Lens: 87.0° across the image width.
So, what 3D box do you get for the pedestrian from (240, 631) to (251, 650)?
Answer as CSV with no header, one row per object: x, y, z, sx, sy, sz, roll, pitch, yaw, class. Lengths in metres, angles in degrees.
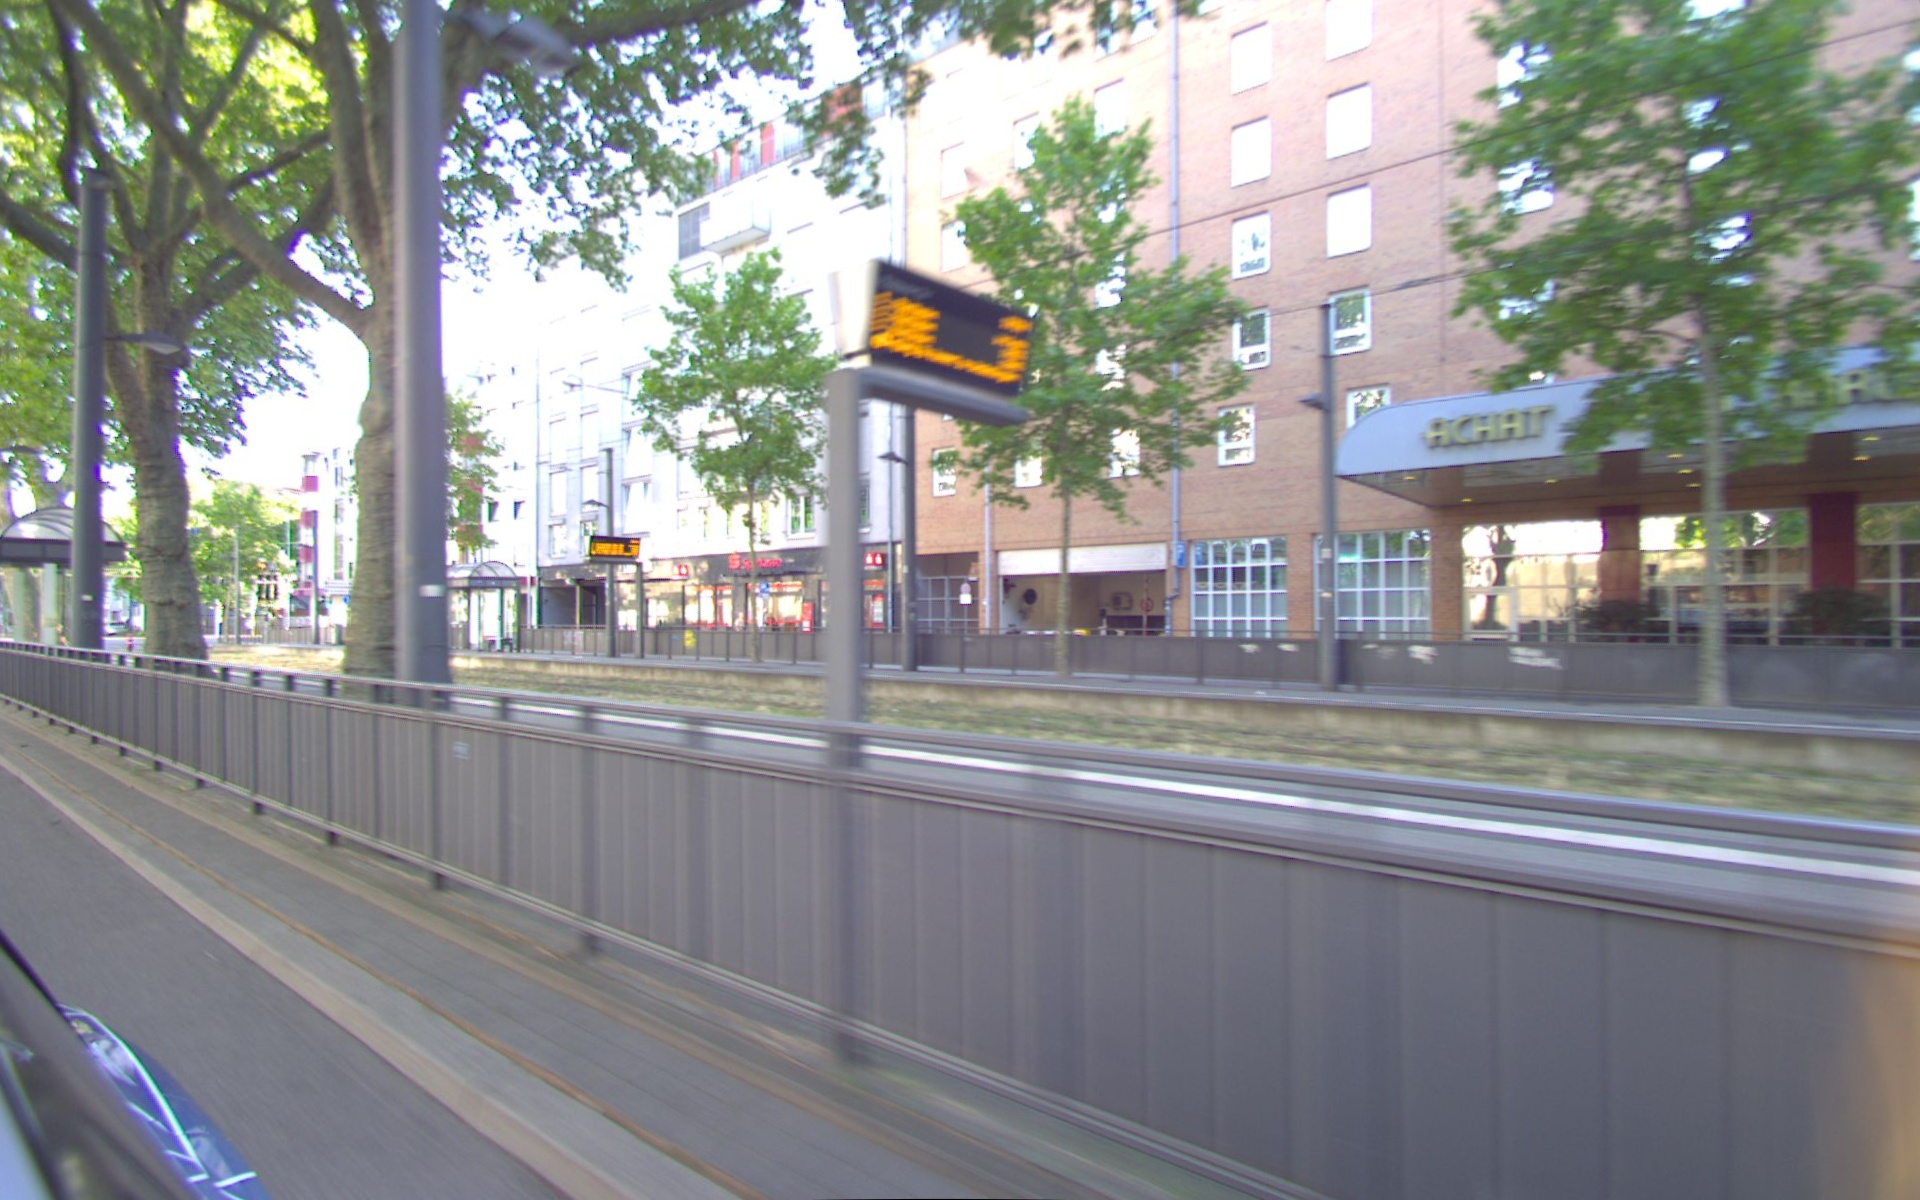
-65.267,3.693,92.450,0.594,1.717,0.670,-1,0,-11,pedestrian

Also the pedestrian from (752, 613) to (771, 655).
-8.553,1.466,43.658,0.628,1.784,0.497,-1,0,41,pedestrian

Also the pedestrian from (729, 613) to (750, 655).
-9.623,1.478,44.120,0.784,1.784,0.497,-1,0,41,pedestrian
